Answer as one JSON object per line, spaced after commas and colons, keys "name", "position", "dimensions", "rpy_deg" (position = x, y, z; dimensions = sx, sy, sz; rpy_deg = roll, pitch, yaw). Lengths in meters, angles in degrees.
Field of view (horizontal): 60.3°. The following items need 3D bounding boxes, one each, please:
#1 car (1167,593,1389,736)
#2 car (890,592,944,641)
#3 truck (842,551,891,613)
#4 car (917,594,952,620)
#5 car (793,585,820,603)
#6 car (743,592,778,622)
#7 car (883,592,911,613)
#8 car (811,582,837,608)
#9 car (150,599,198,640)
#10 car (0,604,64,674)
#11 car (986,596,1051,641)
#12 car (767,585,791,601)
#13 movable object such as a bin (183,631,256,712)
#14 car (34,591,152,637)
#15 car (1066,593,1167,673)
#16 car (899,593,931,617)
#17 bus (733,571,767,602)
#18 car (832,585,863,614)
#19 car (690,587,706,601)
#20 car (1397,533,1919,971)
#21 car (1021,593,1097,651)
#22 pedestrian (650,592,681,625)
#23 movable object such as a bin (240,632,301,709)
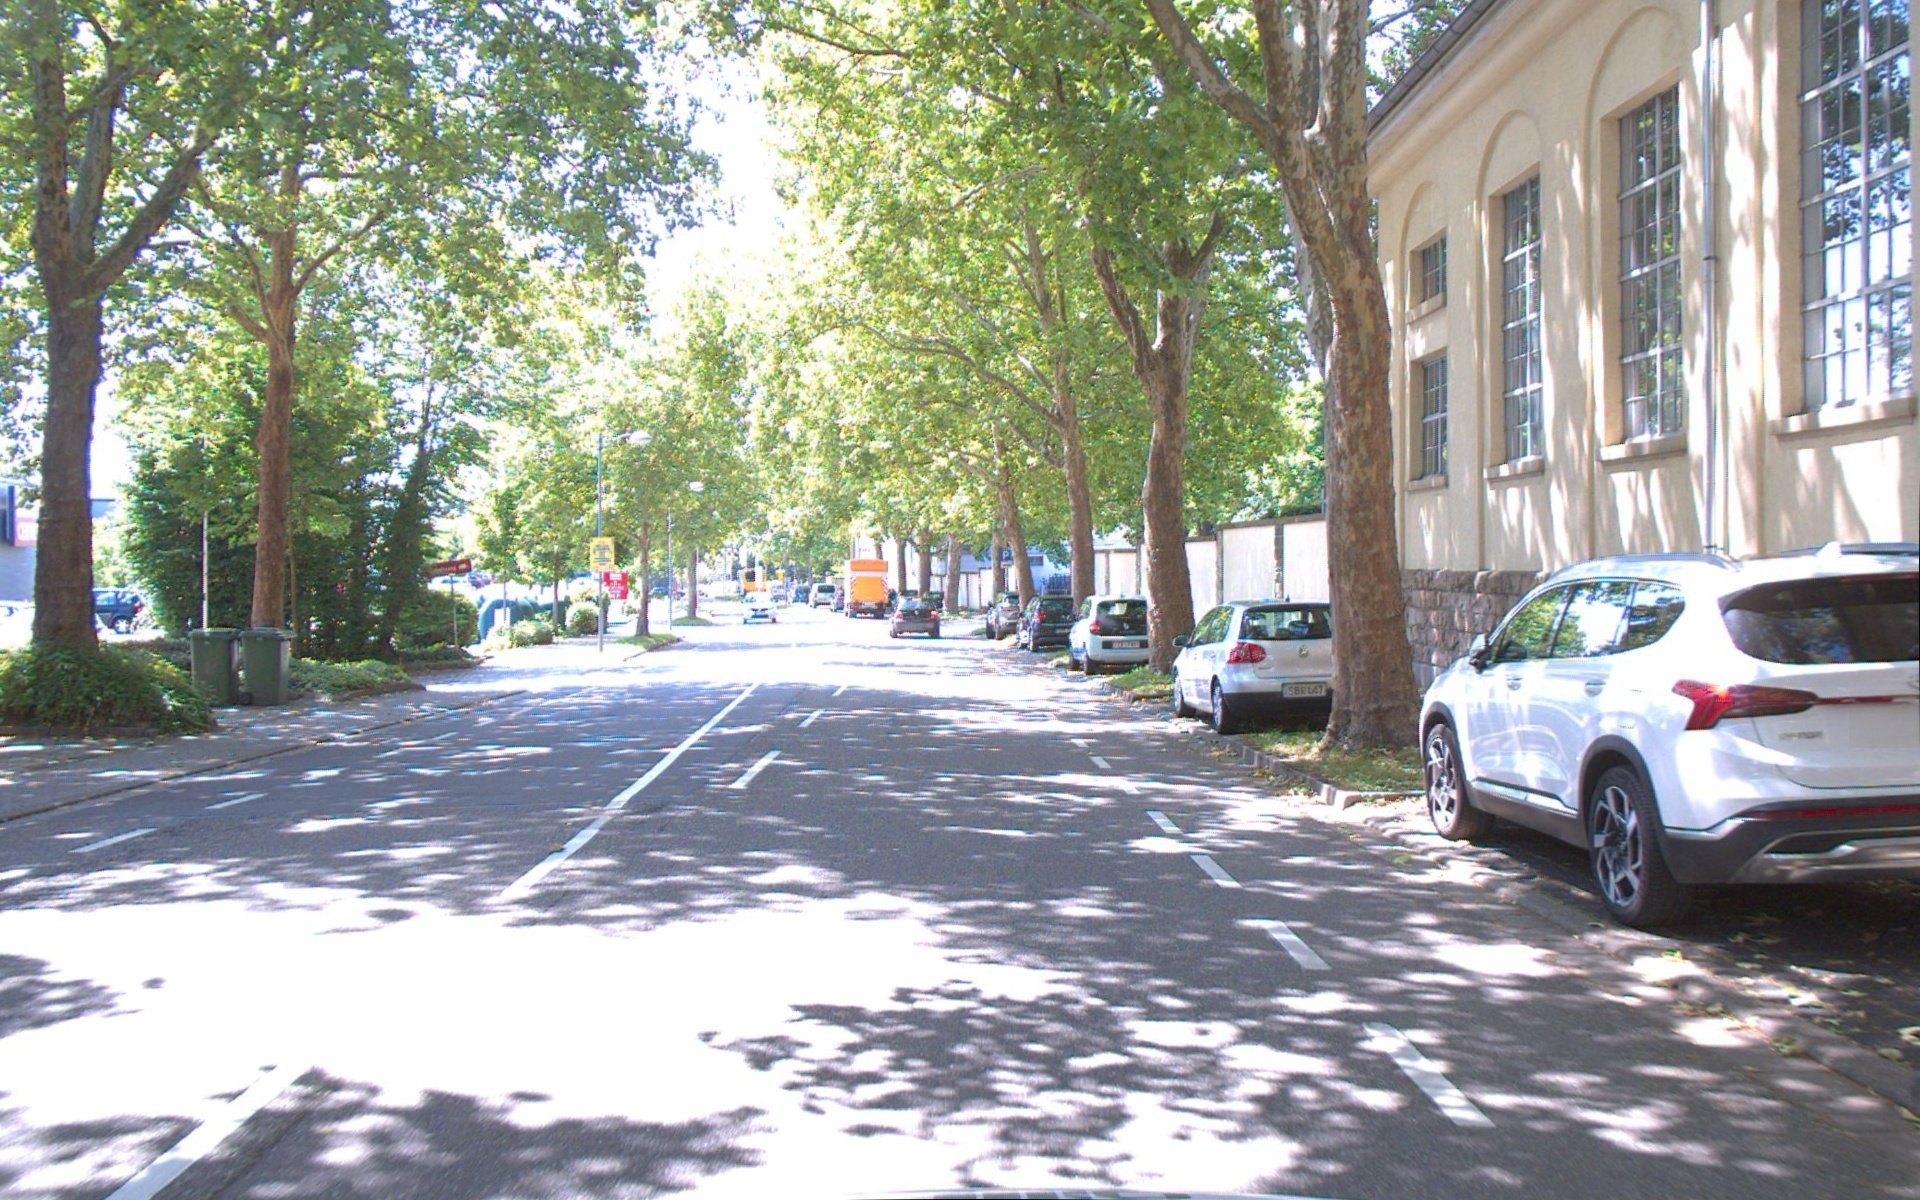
{"name": "car", "position": [3.649, 0.693, 19.646], "dimensions": [1.731, 1.458, 3.874], "rpy_deg": [-2, 0, -2]}
{"name": "car", "position": [-1.563, 0.555, 58.688], "dimensions": [1.677, 1.472, 4.055], "rpy_deg": [-1, 2, -4]}
{"name": "truck", "position": [-5.215, -0.942, 91.554], "dimensions": [2.325, 3.189, 5.760], "rpy_deg": [-1, -1, -7]}
{"name": "car", "position": [-1.447, 0.393, 93.160], "dimensions": [1.732, 1.398, 3.725], "rpy_deg": [0, 0, -5]}
{"name": "car", "position": [-12.626, -0.504, 135.939], "dimensions": [1.736, 1.398, 3.717], "rpy_deg": [-2, 0, -13]}
{"name": "car", "position": [-10.147, 0.351, 84.304], "dimensions": [1.678, 1.473, 4.052], "rpy_deg": [-1, 0, -6]}
{"name": "car", "position": [-4.438, 0.187, 115.534], "dimensions": [1.732, 1.398, 3.725], "rpy_deg": [-2, 0, -5]}
{"name": "car", "position": [-9.879, -0.346, 119.990], "dimensions": [1.843, 1.715, 3.995], "rpy_deg": [-1, -1, -5]}
{"name": "car", "position": [-32.410, 0.838, 68.256], "dimensions": [1.579, 1.614, 3.743], "rpy_deg": [0, -1, -22]}
{"name": "car", "position": [-29.323, 1.201, 49.634], "dimensions": [3.923, 2.049, 1.991], "rpy_deg": [-1, -1, -17]}
{"name": "car", "position": [1.955, 0.604, 56.291], "dimensions": [1.732, 1.398, 3.725], "rpy_deg": [-2, 0, -5]}
{"name": "car", "position": [-16.716, -0.655, 152.412], "dimensions": [1.736, 1.398, 3.717], "rpy_deg": [-2, 0, -13]}
{"name": "movable object such as a bin", "position": [-10.510, 1.008, 23.493], "dimensions": [0.719, 1.097, 0.701], "rpy_deg": [-1, 0, -1]}
{"name": "car", "position": [-32.058, 0.502, 61.223], "dimensions": [3.706, 1.613, 1.595], "rpy_deg": [-1, 0, -23]}
{"name": "car", "position": [3.167, 0.649, 34.105], "dimensions": [1.545, 1.491, 3.874], "rpy_deg": [-2, 0, -2]}
{"name": "car", "position": [-2.861, 0.315, 104.610], "dimensions": [1.732, 1.398, 3.725], "rpy_deg": [-2, 0, -5]}
{"name": "bus", "position": [-23.322, -1.479, 182.861], "dimensions": [2.618, 3.205, 11.160], "rpy_deg": [-1, 0, -13]}
{"name": "car", "position": [-7.247, -0.032, 106.376], "dimensions": [1.743, 1.734, 3.994], "rpy_deg": [-1, -1, -7]}
{"name": "car", "position": [-32.521, -0.742, 205.518], "dimensions": [1.691, 1.747, 3.987], "rpy_deg": [0, 0, -13]}
{"name": "car", "position": [3.939, 0.587, 8.989], "dimensions": [1.771, 1.718, 4.751], "rpy_deg": [-2, 0, -1]}
{"name": "car", "position": [2.749, 0.590, 46.610], "dimensions": [1.731, 1.491, 3.874], "rpy_deg": [-2, 0, -2]}
{"name": "pedestrian", "position": [-13.784, 0.393, 77.358], "dimensions": [1.088, 1.547, 0.955], "rpy_deg": [0, 0, -42]}
{"name": "movable object such as a bin", "position": [-9.802, 0.997, 23.526], "dimensions": [0.611, 1.067, 0.620], "rpy_deg": [-1, 0, -1]}
